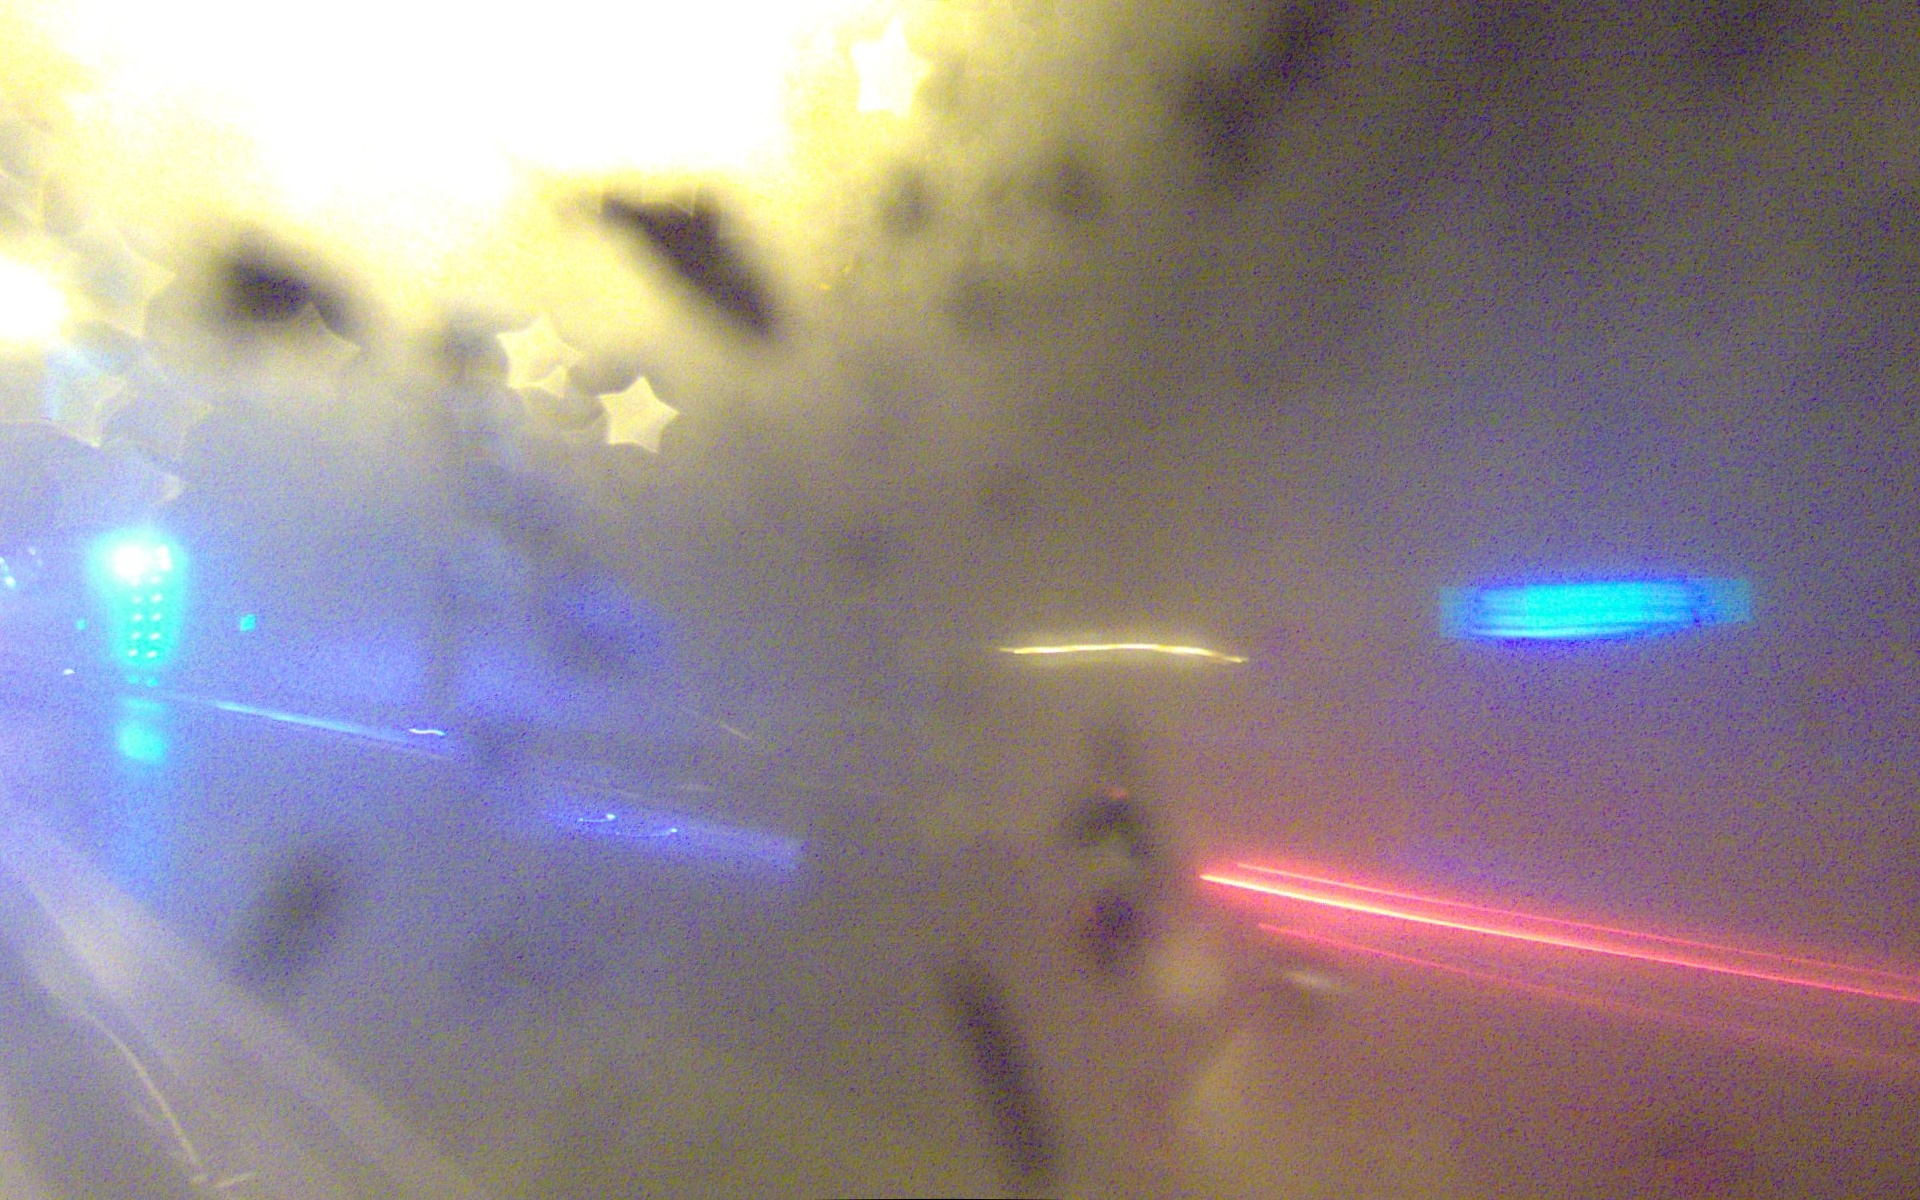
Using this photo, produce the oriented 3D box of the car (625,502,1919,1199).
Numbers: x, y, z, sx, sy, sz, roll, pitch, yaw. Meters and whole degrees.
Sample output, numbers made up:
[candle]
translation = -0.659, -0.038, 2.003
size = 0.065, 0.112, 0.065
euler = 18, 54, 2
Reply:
[car]
translation = 0.746, 0.656, 2.937
size = 3.573, 1.473, 1.693
euler = -2, -2, 41
